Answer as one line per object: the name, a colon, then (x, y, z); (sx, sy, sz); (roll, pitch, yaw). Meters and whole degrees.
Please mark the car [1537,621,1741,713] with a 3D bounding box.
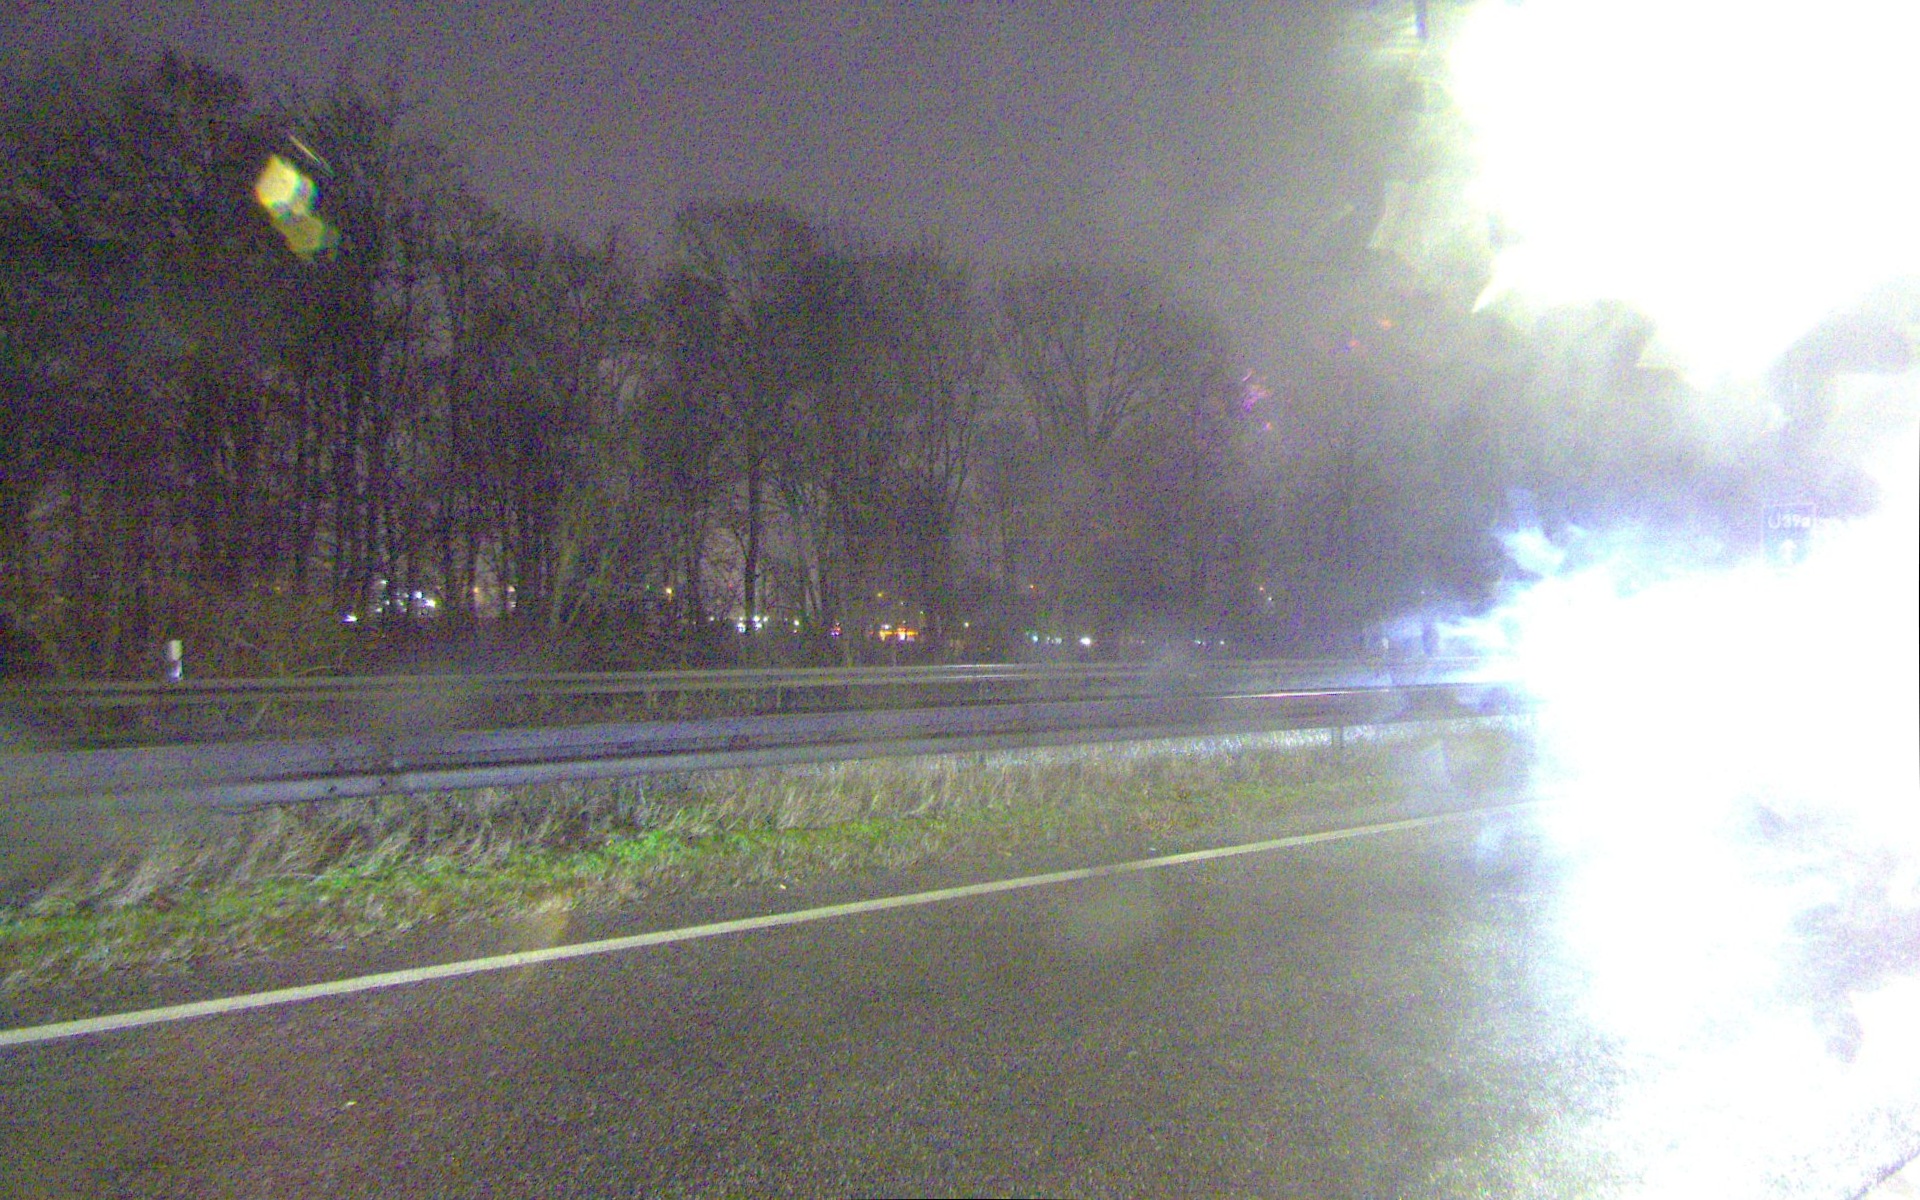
car: (12.951, 1.205, 19.122); (3.964, 1.572, 1.743); (1, -1, -31)
